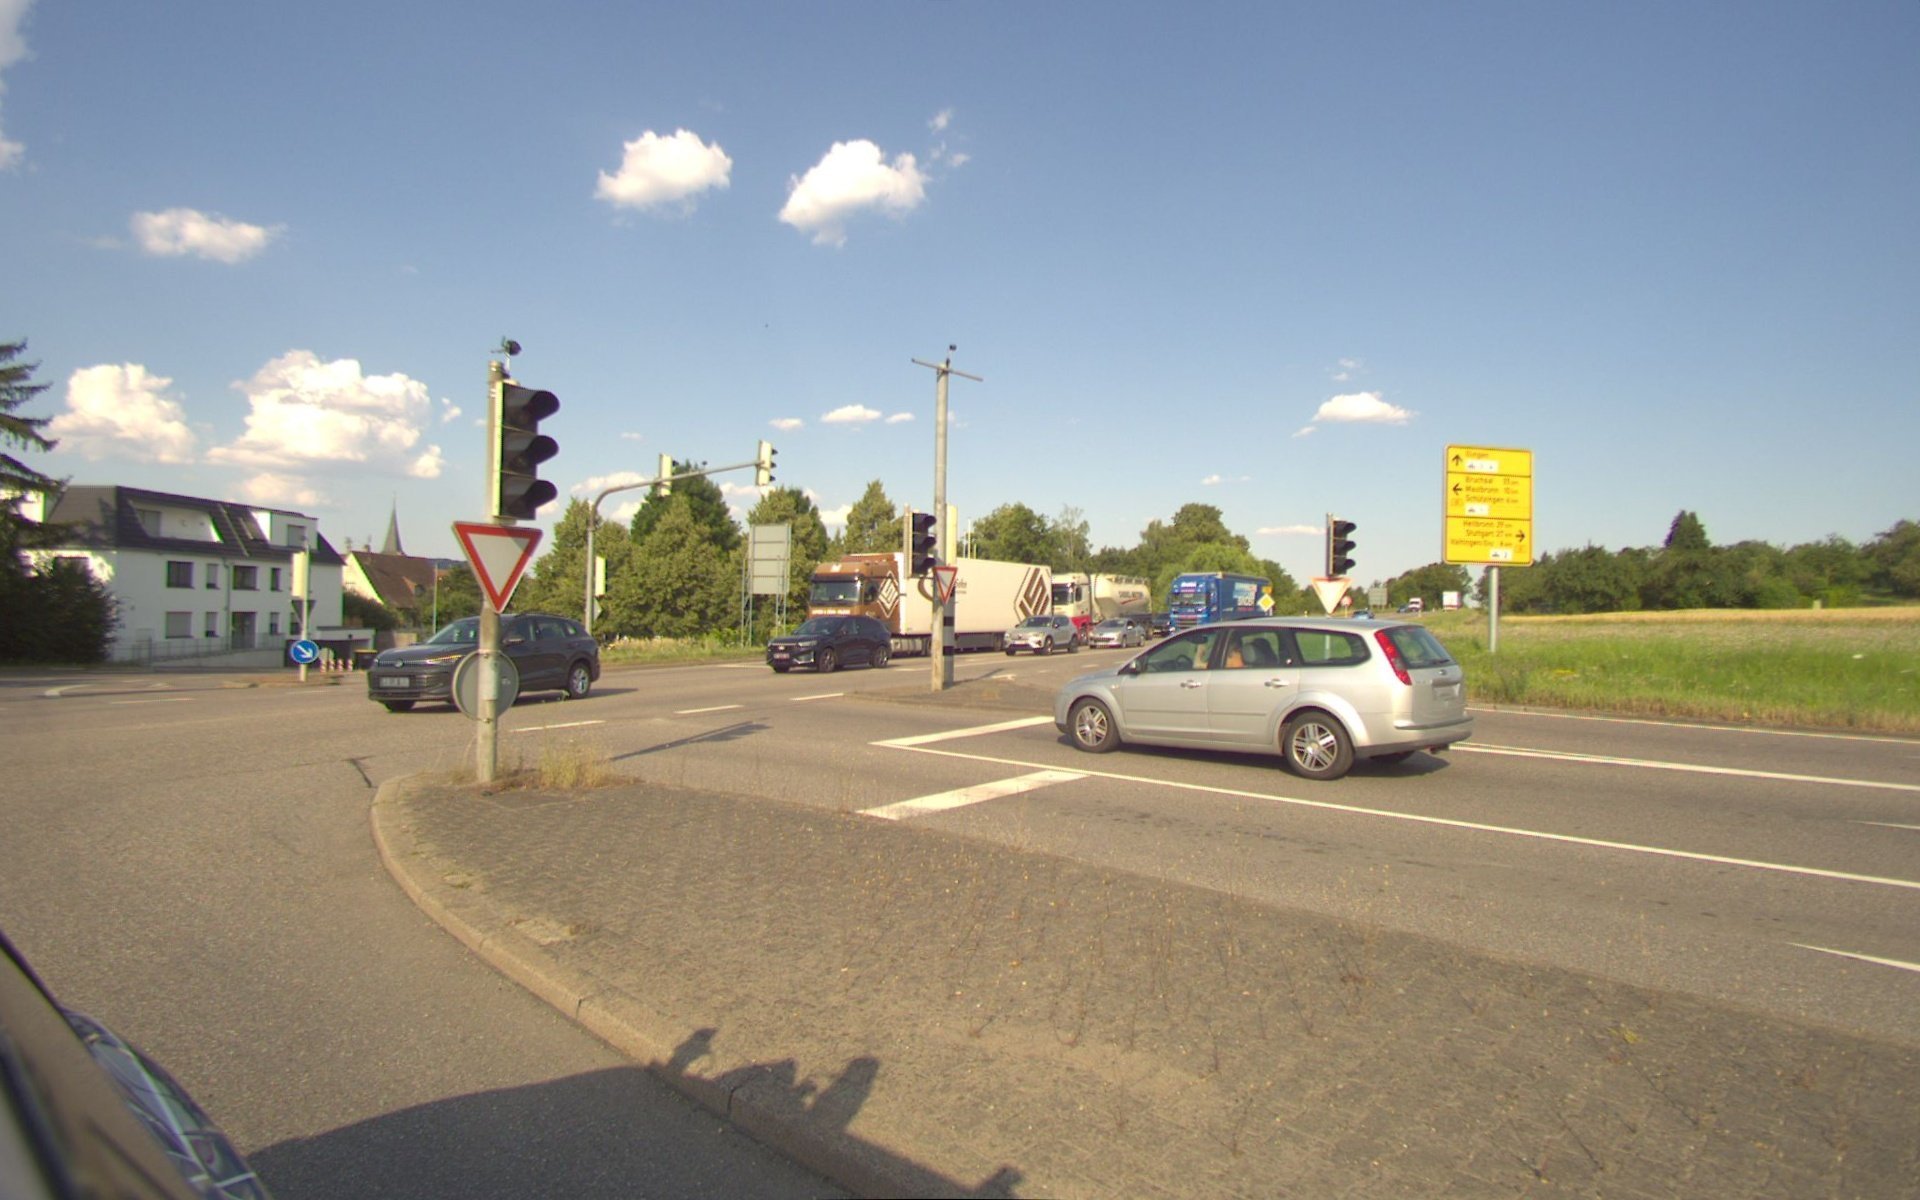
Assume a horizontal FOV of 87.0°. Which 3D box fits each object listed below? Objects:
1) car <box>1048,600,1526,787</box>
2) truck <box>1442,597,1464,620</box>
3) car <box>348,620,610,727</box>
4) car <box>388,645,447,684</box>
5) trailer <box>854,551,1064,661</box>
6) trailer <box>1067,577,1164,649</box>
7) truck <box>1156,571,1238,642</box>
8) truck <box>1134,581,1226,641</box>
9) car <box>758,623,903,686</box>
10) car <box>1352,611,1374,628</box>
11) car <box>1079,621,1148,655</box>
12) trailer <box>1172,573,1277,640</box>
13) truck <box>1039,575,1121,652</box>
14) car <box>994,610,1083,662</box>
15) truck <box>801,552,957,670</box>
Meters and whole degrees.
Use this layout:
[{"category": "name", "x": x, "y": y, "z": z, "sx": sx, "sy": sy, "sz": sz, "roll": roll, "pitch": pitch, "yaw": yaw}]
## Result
[{"category": "car", "x": 3.177, "y": 0.906, "z": 10.559, "sx": 1.793, "sy": 1.540, "sz": 4.357, "roll": 0, "pitch": -4, "yaw": -43}, {"category": "truck", "x": 100.133, "y": 1.747, "z": 205.441, "sx": 3.437, "sy": 4.531, "sz": 9.392, "roll": -2, "pitch": -2, "yaw": 29}, {"category": "car", "x": -8.356, "y": 1.198, "z": 18.103, "sx": 1.773, "sy": 1.641, "sz": 4.446, "roll": -1, "pitch": -1, "yaw": 16}, {"category": "car", "x": -23.291, "y": 2.720, "z": 43.389, "sx": 1.764, "sy": 1.509, "sz": 4.313, "roll": -1, "pitch": -2, "yaw": -34}, {"category": "trailer", "x": 0.532, "y": 0.389, "z": 44.584, "sx": 2.530, "sy": 4.098, "sz": 14.189, "roll": -2, "pitch": -2, "yaw": 30}, {"category": "trailer", "x": 9.187, "y": 0.771, "z": 58.570, "sx": 2.256, "sy": 3.806, "sz": 9.429, "roll": -3, "pitch": -2, "yaw": 29}, {"category": "truck", "x": 14.541, "y": 0.433, "z": 61.751, "sx": 3.362, "sy": 4.035, "sz": 5.545, "roll": -2, "pitch": -2, "yaw": 30}, {"category": "truck", "x": 15.674, "y": 0.782, "z": 71.114, "sx": 2.520, "sy": 3.802, "sz": 12.766, "roll": -2, "pitch": -2, "yaw": 30}, {"category": "car", "x": -3.667, "y": 1.521, "z": 29.430, "sx": 1.770, "sy": 1.625, "sz": 4.499, "roll": -2, "pitch": -2, "yaw": 31}, {"category": "car", "x": 36.838, "y": 1.823, "z": 92.472, "sx": 1.754, "sy": 1.512, "sz": 3.968, "roll": -1, "pitch": -2, "yaw": 23}, {"category": "car", "x": 7.464, "y": 1.829, "z": 48.896, "sx": 1.992, "sy": 1.497, "sz": 3.960, "roll": -2, "pitch": -2, "yaw": 29}, {"category": "trailer", "x": 18.034, "y": 0.499, "z": 68.091, "sx": 3.405, "sy": 4.035, "sz": 13.611, "roll": -2, "pitch": -2, "yaw": 29}, {"category": "truck", "x": 6.418, "y": 0.705, "z": 53.641, "sx": 2.253, "sy": 3.834, "sz": 5.629, "roll": -2, "pitch": -2, "yaw": 29}, {"category": "car", "x": 3.216, "y": 1.421, "z": 40.705, "sx": 1.900, "sy": 1.962, "sz": 4.328, "roll": -2, "pitch": -2, "yaw": 29}, {"category": "truck", "x": -2.917, "y": 0.457, "z": 38.518, "sx": 2.530, "sy": 4.074, "sz": 6.593, "roll": -2, "pitch": -2, "yaw": 30}]
